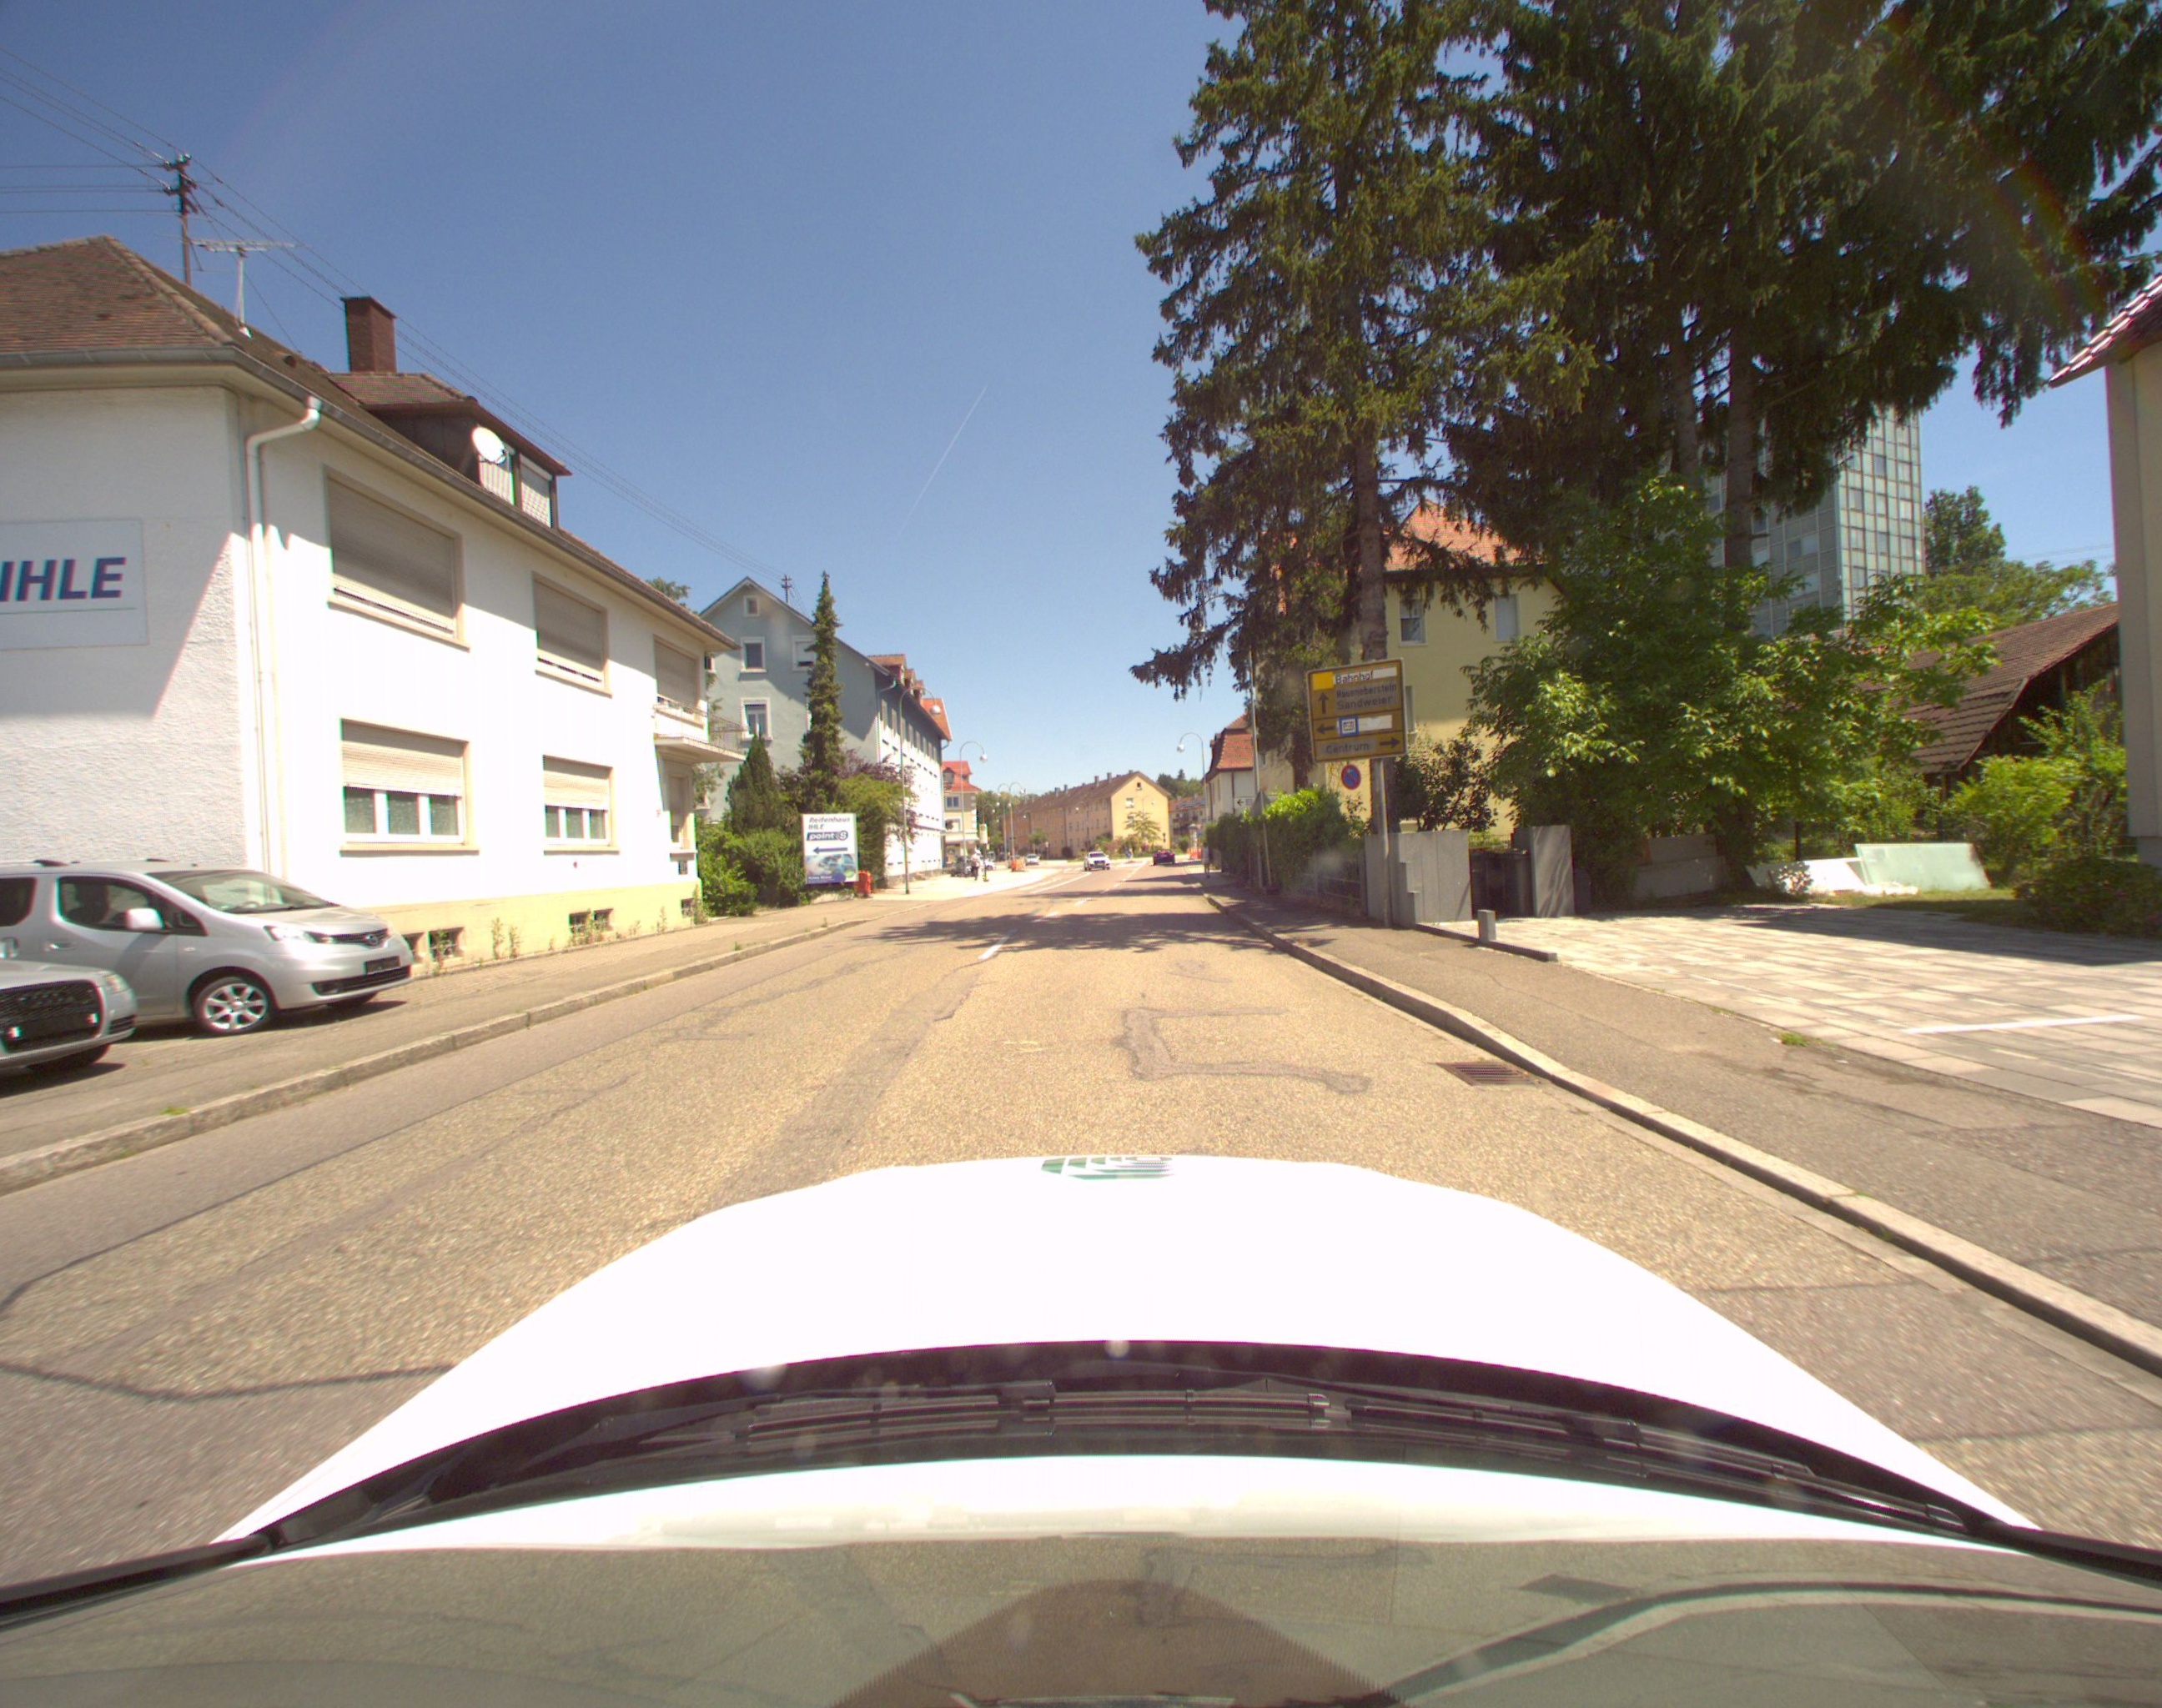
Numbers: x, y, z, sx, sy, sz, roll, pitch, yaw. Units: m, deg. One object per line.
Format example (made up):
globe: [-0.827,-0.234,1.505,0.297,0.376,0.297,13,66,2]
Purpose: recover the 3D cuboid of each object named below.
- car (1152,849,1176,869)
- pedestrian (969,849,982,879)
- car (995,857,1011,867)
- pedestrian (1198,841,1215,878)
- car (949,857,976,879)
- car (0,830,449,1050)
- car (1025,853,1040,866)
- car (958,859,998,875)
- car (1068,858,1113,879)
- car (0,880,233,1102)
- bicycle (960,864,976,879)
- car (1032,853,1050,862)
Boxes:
car: [7.171,0.445,70.418,1.862,1.530,4.511,-3,-2,4]
pedestrian: [-6.575,0.646,50.780,0.754,1.848,0.771,1,-1,-2]
car: [-14.785,1.568,154.084,1.820,1.794,3.969,-1,-1,-23]
pedestrian: [5.760,0.237,37.458,0.621,1.644,0.772,-3,-1,2]
car: [-8.565,1.042,59.002,1.574,1.534,3.769,-2,-2,-4]
car: [-9.800,0.871,8.699,4.348,1.877,1.845,-4,0,-8]
car: [-6.495,0.740,108.482,1.780,1.747,4.118,-1,-1,-7]
car: [-11.042,1.371,87.505,4.110,1.551,1.783,-1,-1,-7]
car: [0.772,1.215,67.380,1.833,1.530,3.909,-1,-2,-33]
car: [-9.820,1.154,6.249,4.455,1.495,1.976,-4,0,1]
bicycle: [-7.627,1.194,55.006,0.493,0.977,1.978,2,0,10]
car: [-6.786,0.640,138.559,1.820,1.500,3.969,-1,-1,-23]
